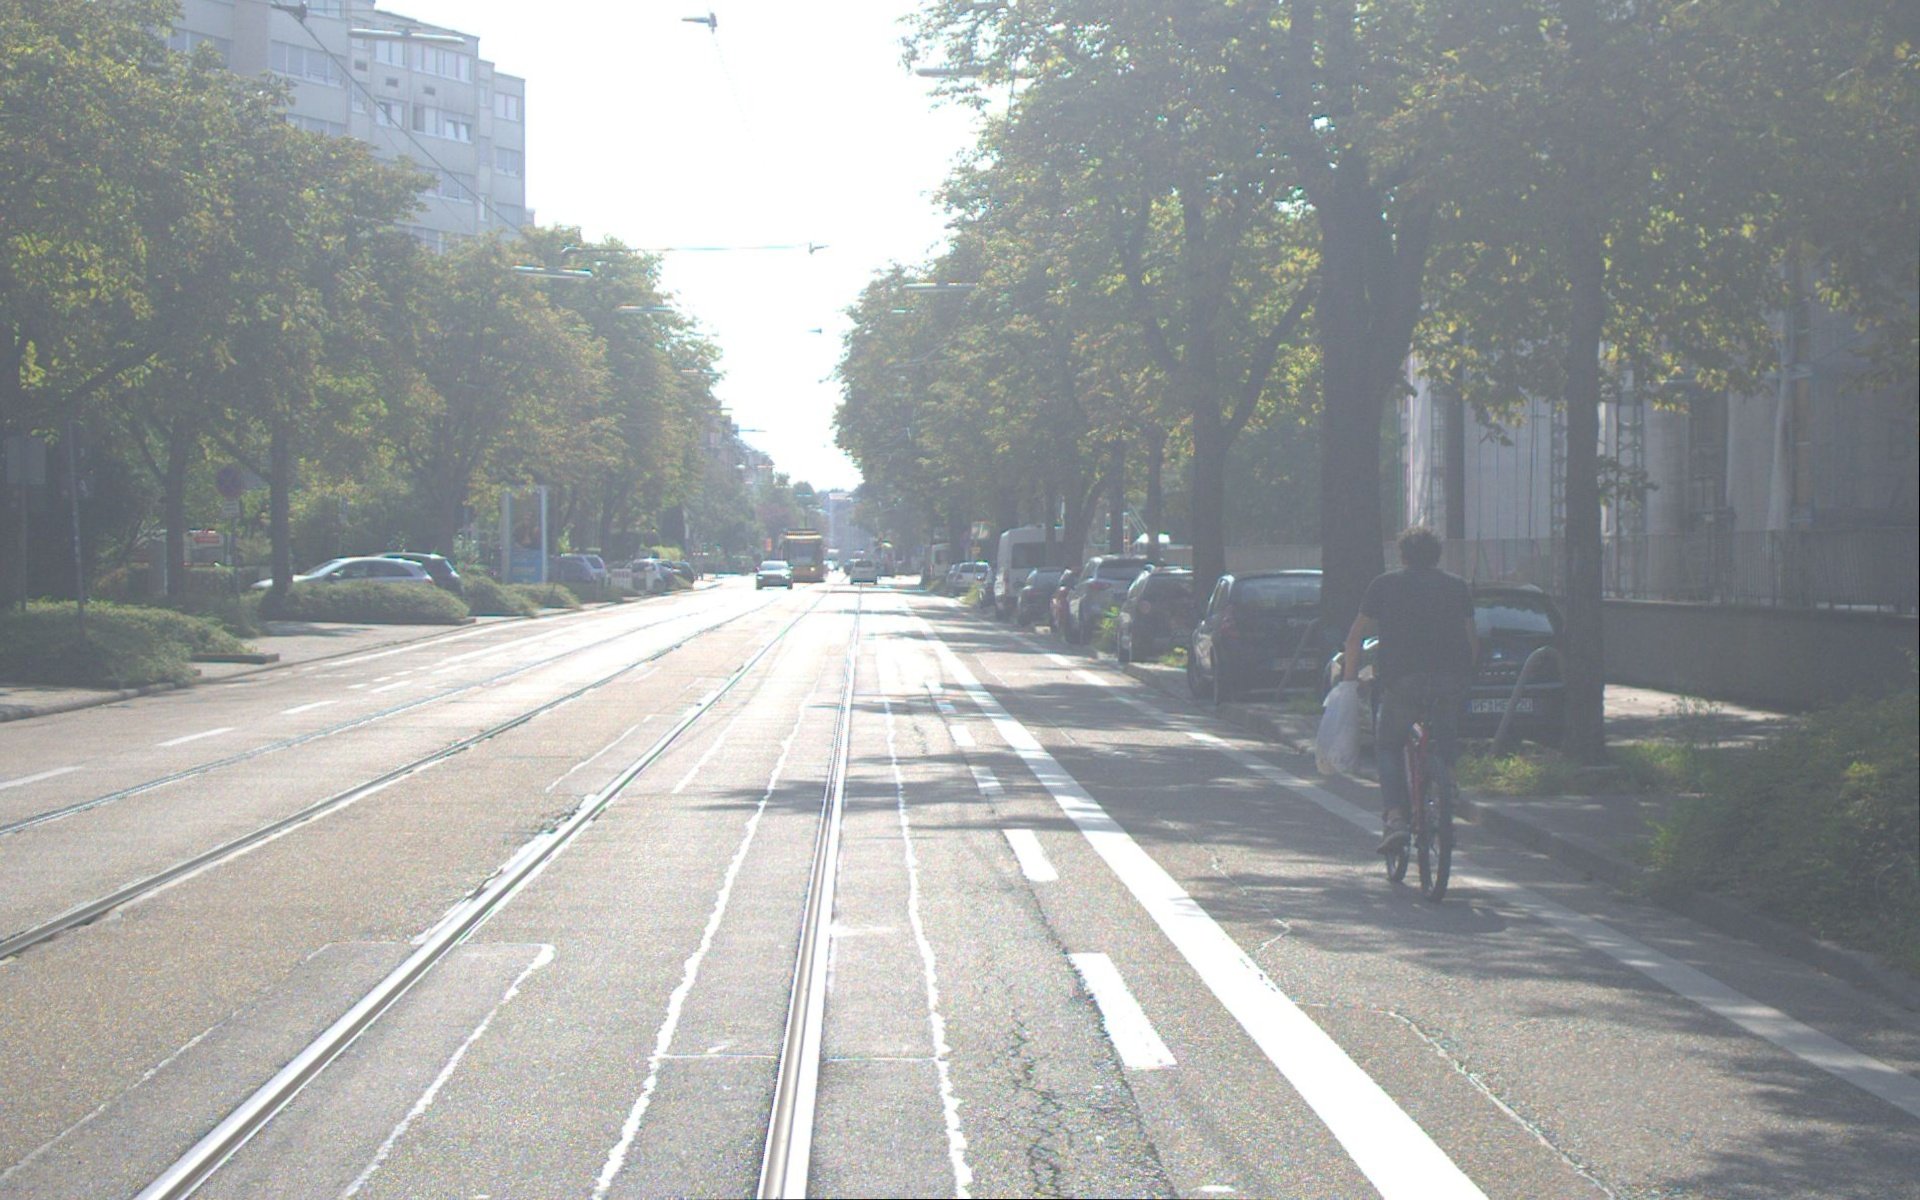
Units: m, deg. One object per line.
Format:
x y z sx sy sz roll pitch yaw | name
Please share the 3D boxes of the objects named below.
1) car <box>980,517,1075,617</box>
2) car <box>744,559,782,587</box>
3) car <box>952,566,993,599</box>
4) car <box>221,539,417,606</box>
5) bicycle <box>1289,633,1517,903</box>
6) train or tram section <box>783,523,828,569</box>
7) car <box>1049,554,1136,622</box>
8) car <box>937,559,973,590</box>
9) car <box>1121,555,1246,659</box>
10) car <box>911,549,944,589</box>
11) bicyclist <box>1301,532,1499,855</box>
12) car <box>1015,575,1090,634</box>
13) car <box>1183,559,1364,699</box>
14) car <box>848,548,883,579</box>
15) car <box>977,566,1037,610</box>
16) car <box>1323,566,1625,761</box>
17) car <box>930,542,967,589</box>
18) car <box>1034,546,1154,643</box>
1.818 -0.904 93.911 2.082 2.544 5.502 -3 1 -3 | car
-9.970 -1.359 174.051 1.828 1.371 4.513 0 0 -2 | car
0.532 -0.752 146.557 1.689 1.413 3.634 0 0 -1 | car
-14.429 -0.633 77.416 3.986 1.474 1.789 -1 1 -27 | car
2.053 0.749 16.237 0.787 1.140 2.305 0 0 0 | bicycle
-10.185 -3.539 227.673 2.729 2.884 15.456 0 0 -1 | train or tram section
2.799 -0.260 73.490 1.616 1.409 4.000 0 0 -1 | car
-0.240 -1.169 160.233 1.594 1.413 3.634 0 0 -1 | car
3.377 0.083 52.549 1.576 1.479 3.738 -1 1 -1 | car
-2.024 -1.929 214.878 2.004 2.467 4.477 0 0 -1 | car
2.060 0.422 16.223 0.787 1.465 1.116 0 0 0 | bicyclist
2.218 0.085 83.751 1.616 1.369 4.827 0 0 -1 | car
3.587 0.307 39.860 1.646 1.506 3.778 -2 0 -1 | car
-5.680 -2.166 206.823 1.993 1.831 4.000 0 0 0 | car
1.515 -0.421 113.007 1.753 1.373 4.719 -1 0 -1 | car
4.074 0.453 27.846 1.646 1.423 4.085 -1 1 -2 | car
-0.631 -1.887 188.459 2.004 2.482 4.477 0 -1 -1 | car
2.413 -0.136 62.945 1.753 1.685 4.397 1 1 -3 | car
